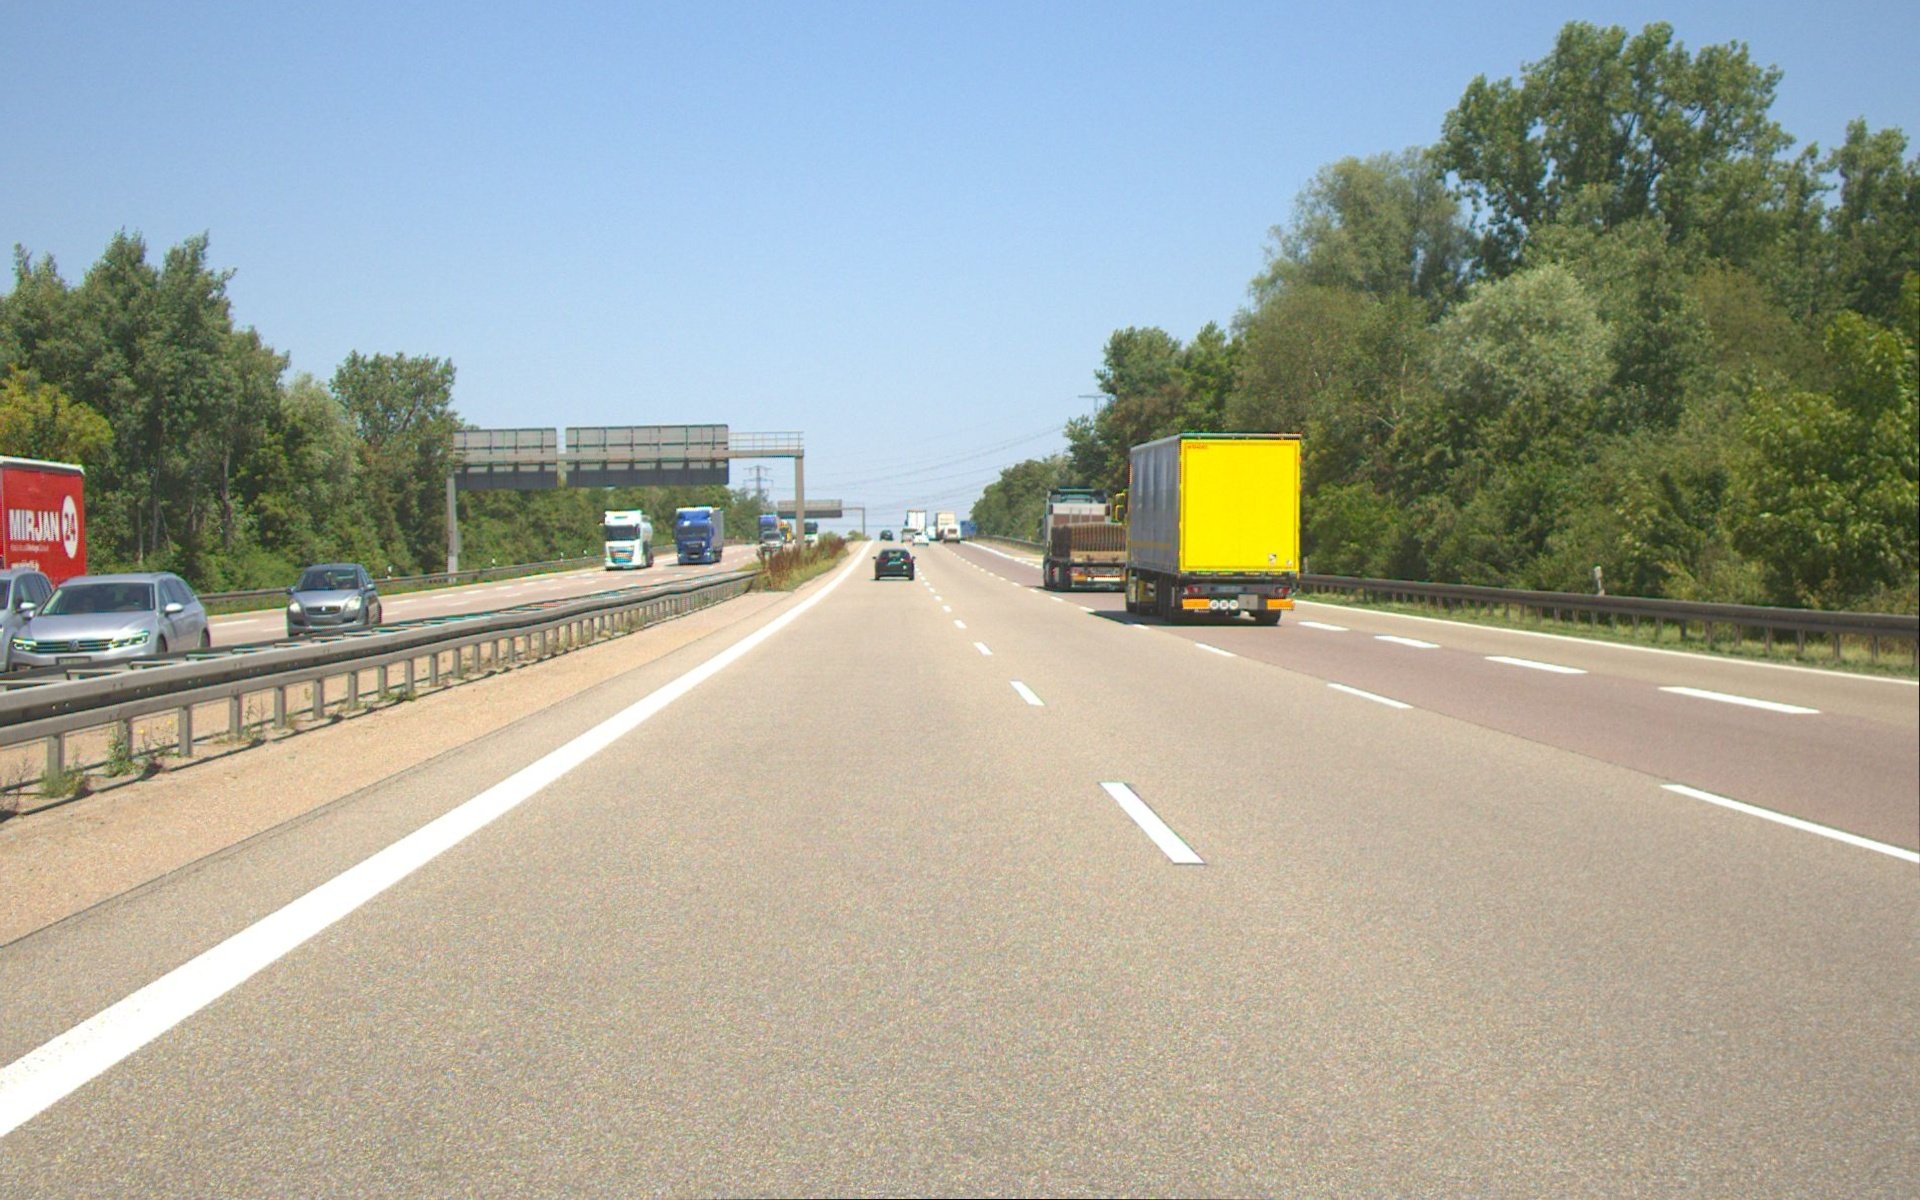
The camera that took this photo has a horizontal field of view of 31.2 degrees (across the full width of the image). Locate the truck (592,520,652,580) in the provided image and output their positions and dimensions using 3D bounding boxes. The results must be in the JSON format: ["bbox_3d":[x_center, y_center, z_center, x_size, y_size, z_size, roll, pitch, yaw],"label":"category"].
[{"bbox_3d":[-23.736,-3.539,242.212,2.955,4.004,15.822,-1,1,-1],"label":"truck"}]

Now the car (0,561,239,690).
[{"bbox_3d":[-10.923,0.284,44.705,1.993,1.547,5.224,-1,1,0],"label":"car"}]

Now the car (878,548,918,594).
[{"bbox_3d":[-2.801,-1.316,155.491,1.791,2.007,3.888,1,1,-1],"label":"car"}]

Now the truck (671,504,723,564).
[{"bbox_3d":[-19.540,-4.908,256.061,2.955,4.231,17.183,-1,1,-1],"label":"truck"}]

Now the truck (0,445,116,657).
[{"bbox_3d":[-18.454,-0.904,64.197,3.064,3.714,9.806,-1,1,-1],"label":"truck"}]

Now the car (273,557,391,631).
[{"bbox_3d":[-13.476,-0.153,73.960,1.895,1.501,4.117,-1,1,-2],"label":"car"}]

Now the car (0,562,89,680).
[{"bbox_3d":[-14.352,0.300,50.377,1.993,1.620,4.544,-2,1,0],"label":"car"}]

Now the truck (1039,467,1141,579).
[{"bbox_3d":[4.816,-2.836,130.459,2.969,3.943,16.614,1,1,-1],"label":"truck"}]

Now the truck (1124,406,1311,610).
[{"bbox_3d":[5.789,-2.028,80.359,2.845,4.243,16.792,-1,1,-1],"label":"truck"}]
